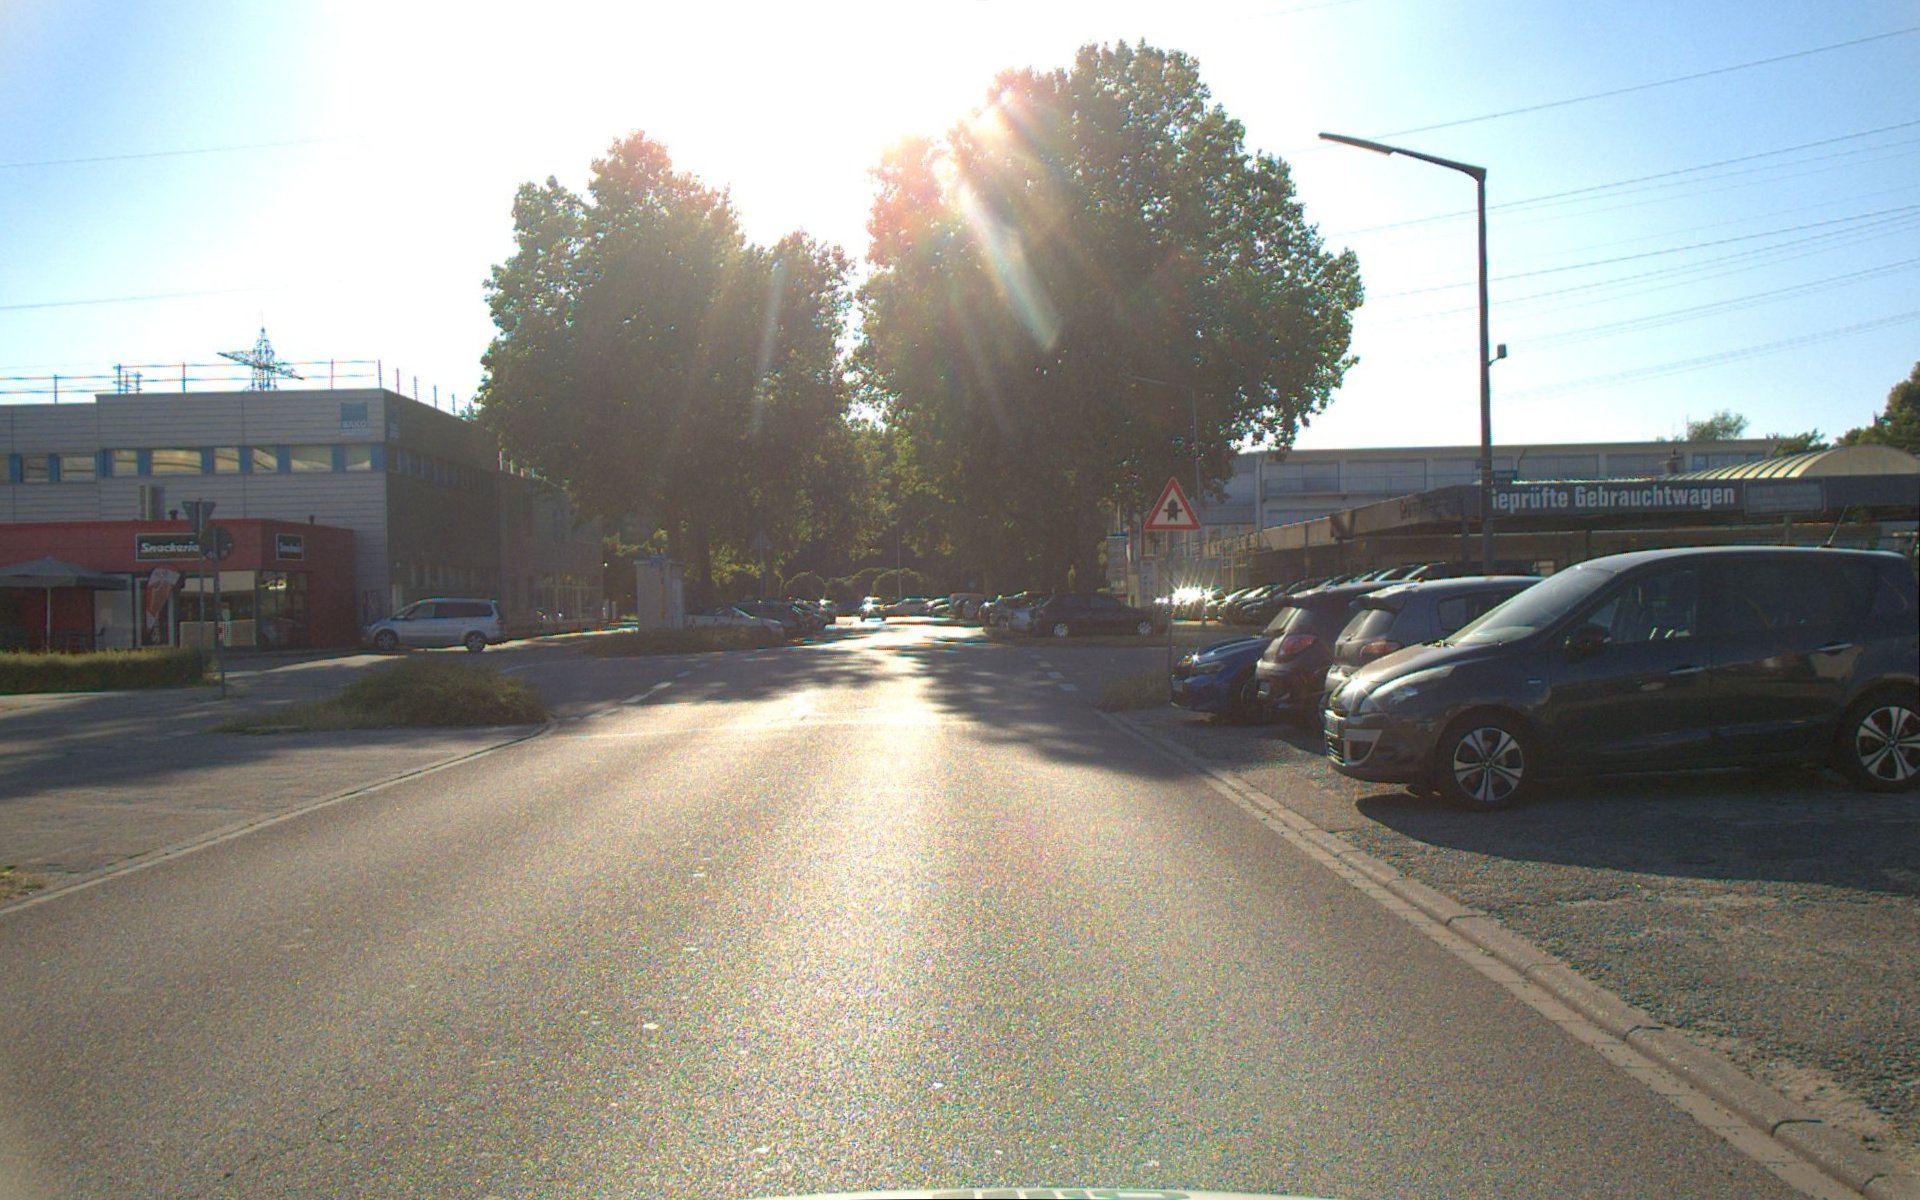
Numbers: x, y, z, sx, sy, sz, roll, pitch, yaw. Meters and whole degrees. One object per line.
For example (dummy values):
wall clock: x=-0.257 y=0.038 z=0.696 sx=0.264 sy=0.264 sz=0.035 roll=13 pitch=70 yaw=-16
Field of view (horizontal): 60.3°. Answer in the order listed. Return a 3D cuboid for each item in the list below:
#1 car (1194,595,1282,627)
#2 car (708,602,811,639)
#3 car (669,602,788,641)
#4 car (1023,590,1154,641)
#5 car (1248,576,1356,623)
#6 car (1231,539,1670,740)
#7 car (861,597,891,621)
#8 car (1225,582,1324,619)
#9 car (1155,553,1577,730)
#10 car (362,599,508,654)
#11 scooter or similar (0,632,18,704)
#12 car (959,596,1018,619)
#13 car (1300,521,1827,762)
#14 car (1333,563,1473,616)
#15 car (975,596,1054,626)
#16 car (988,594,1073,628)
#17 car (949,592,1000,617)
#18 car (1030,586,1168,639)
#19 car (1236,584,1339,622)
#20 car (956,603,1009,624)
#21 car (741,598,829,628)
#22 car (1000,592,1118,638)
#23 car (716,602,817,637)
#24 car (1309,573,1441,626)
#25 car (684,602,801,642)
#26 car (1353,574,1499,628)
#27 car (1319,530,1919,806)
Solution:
car: x=13.502 y=0.524 z=80.411 sx=3.907 sy=1.530 sz=1.999 roll=0 pitch=0 yaw=-2
car: x=-8.634 y=0.884 z=71.447 sx=4.329 sy=1.543 sz=1.998 roll=0 pitch=0 yaw=-5
car: x=-8.597 y=0.784 z=61.852 sx=4.331 sy=1.427 sz=1.997 roll=0 pitch=0 yaw=-7
car: x=4.019 y=0.477 z=52.203 sx=3.906 sy=1.440 sz=1.999 roll=-2 pitch=0 yaw=-1
car: x=13.845 y=-0.016 z=67.058 sx=3.907 sy=1.864 sz=1.999 roll=0 pitch=0 yaw=-2
car: x=4.977 y=0.383 z=17.118 sx=3.909 sy=1.681 sz=1.741 roll=-4 pitch=0 yaw=-4
car: x=-6.015 y=0.665 z=118.766 sx=1.953 sy=1.637 sz=3.999 roll=1 pitch=0 yaw=-1
car: x=13.681 y=0.020 z=72.044 sx=3.907 sy=1.573 sz=1.999 roll=0 pitch=0 yaw=-2
car: x=4.696 y=0.459 z=19.488 sx=4.436 sy=1.702 sz=1.752 roll=-4 pitch=0 yaw=-5
car: x=-17.445 y=0.859 z=55.163 sx=4.556 sy=1.771 sz=1.990 roll=0 pitch=0 yaw=-17
scooter or similar: x=-16.929 y=1.176 z=28.700 sx=1.365 sy=1.221 sz=0.621 roll=-1 pitch=-1 yaw=43
car: x=1.921 y=0.526 z=112.686 sx=3.906 sy=1.440 sz=1.826 roll=-2 pitch=0 yaw=-2
car: x=5.216 y=0.348 z=14.681 sx=3.907 sy=1.681 sz=1.800 roll=-5 pitch=0 yaw=-1
car: x=14.172 y=-0.325 z=53.050 sx=3.907 sy=1.663 sz=1.999 roll=0 pitch=0 yaw=-2
car: x=2.741 y=0.559 z=84.087 sx=3.906 sy=1.405 sz=1.826 roll=-2 pitch=0 yaw=-2
car: x=3.304 y=0.506 z=78.121 sx=3.906 sy=1.440 sz=1.826 roll=-2 pitch=0 yaw=-2
car: x=1.096 y=0.320 z=128.764 sx=3.906 sy=1.808 sz=1.826 roll=-2 pitch=0 yaw=-2
car: x=4.149 y=0.371 z=49.874 sx=3.906 sy=1.440 sz=1.999 roll=-2 pitch=0 yaw=-1
car: x=13.751 y=0.144 z=69.608 sx=3.907 sy=1.573 sz=1.999 roll=0 pitch=0 yaw=-2
car: x=1.712 y=1.042 z=124.901 sx=3.906 sy=1.440 sz=1.826 roll=-2 pitch=0 yaw=-2
car: x=-9.054 y=0.658 z=85.631 sx=4.325 sy=1.543 sz=2.000 roll=0 pitch=0 yaw=0
car: x=3.407 y=0.521 z=57.241 sx=3.906 sy=1.440 sz=1.826 roll=-2 pitch=0 yaw=-2
car: x=-8.690 y=0.872 z=74.581 sx=4.325 sy=1.543 sz=2.000 roll=0 pitch=0 yaw=0
car: x=13.957 y=-0.013 z=55.772 sx=3.907 sy=1.730 sz=1.999 roll=0 pitch=0 yaw=-2
car: x=-8.405 y=0.839 z=64.305 sx=4.327 sy=1.543 sz=1.999 roll=0 pitch=0 yaw=-3
car: x=14.231 y=0.035 z=50.659 sx=3.907 sy=1.596 sz=1.999 roll=0 pitch=0 yaw=-2
car: x=4.704 y=0.457 z=11.859 sx=3.903 sy=1.641 sz=2.001 roll=-3 pitch=-1 yaw=6
